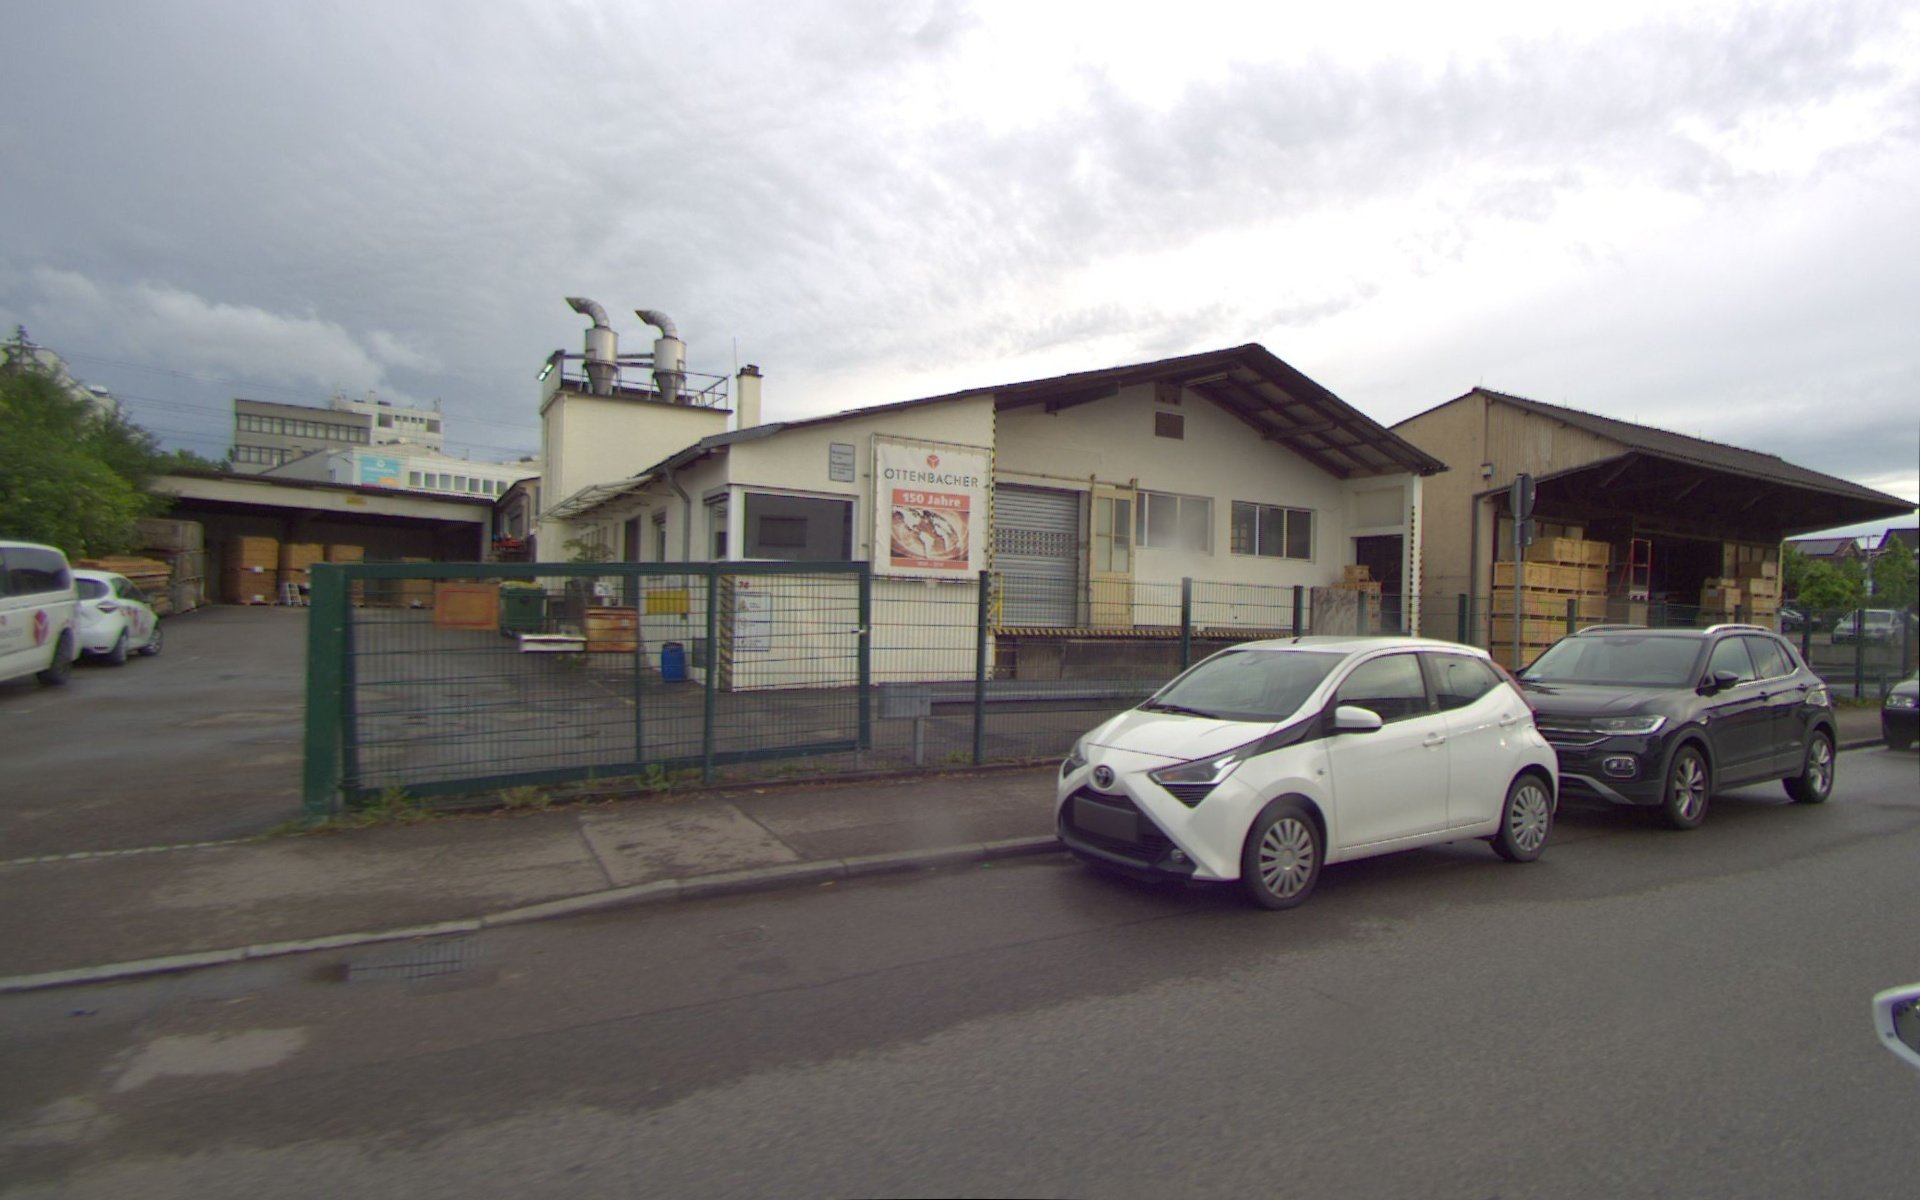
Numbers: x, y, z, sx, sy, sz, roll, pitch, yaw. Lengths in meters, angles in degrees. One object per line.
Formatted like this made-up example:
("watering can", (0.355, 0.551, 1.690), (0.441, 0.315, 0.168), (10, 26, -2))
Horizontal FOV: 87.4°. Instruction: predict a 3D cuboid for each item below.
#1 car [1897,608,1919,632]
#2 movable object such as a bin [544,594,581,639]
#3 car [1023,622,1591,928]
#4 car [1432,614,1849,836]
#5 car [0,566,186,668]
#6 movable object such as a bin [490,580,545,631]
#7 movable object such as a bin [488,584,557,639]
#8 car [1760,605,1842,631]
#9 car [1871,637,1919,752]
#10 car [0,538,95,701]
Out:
("car", (63.278, 1.353, 64.645), (1.867, 1.572, 4.028), (2, 1, -34))
("movable object such as a bin", (-10.299, 0.424, 25.996), (0.717, 1.107, 0.867), (1, 1, -32))
("car", (2.360, 0.936, 6.657), (3.617, 1.529, 1.609), (2, -2, -30))
("car", (6.164, 0.976, 9.010), (3.872, 1.605, 1.652), (2, -2, -31))
("car", (-15.179, 0.244, 17.656), (1.763, 1.573, 3.971), (2, 1, -27))
("movable object such as a bin", (-12.693, 0.149, 28.796), (1.228, 1.405, 1.318), (1, 1, -32))
("movable object such as a bin", (-11.571, 0.300, 26.565), (1.471, 1.405, 1.273), (2, 1, -32))
("car", (56.905, 1.205, 68.023), (1.756, 1.628, 3.957), (1, 1, -37))
("car", (14.320, 1.258, 13.760), (4.270, 1.467, 1.652), (2, -2, -32))
("car", (-12.433, 0.178, 12.057), (1.975, 1.882, 4.978), (2, 1, -28))
